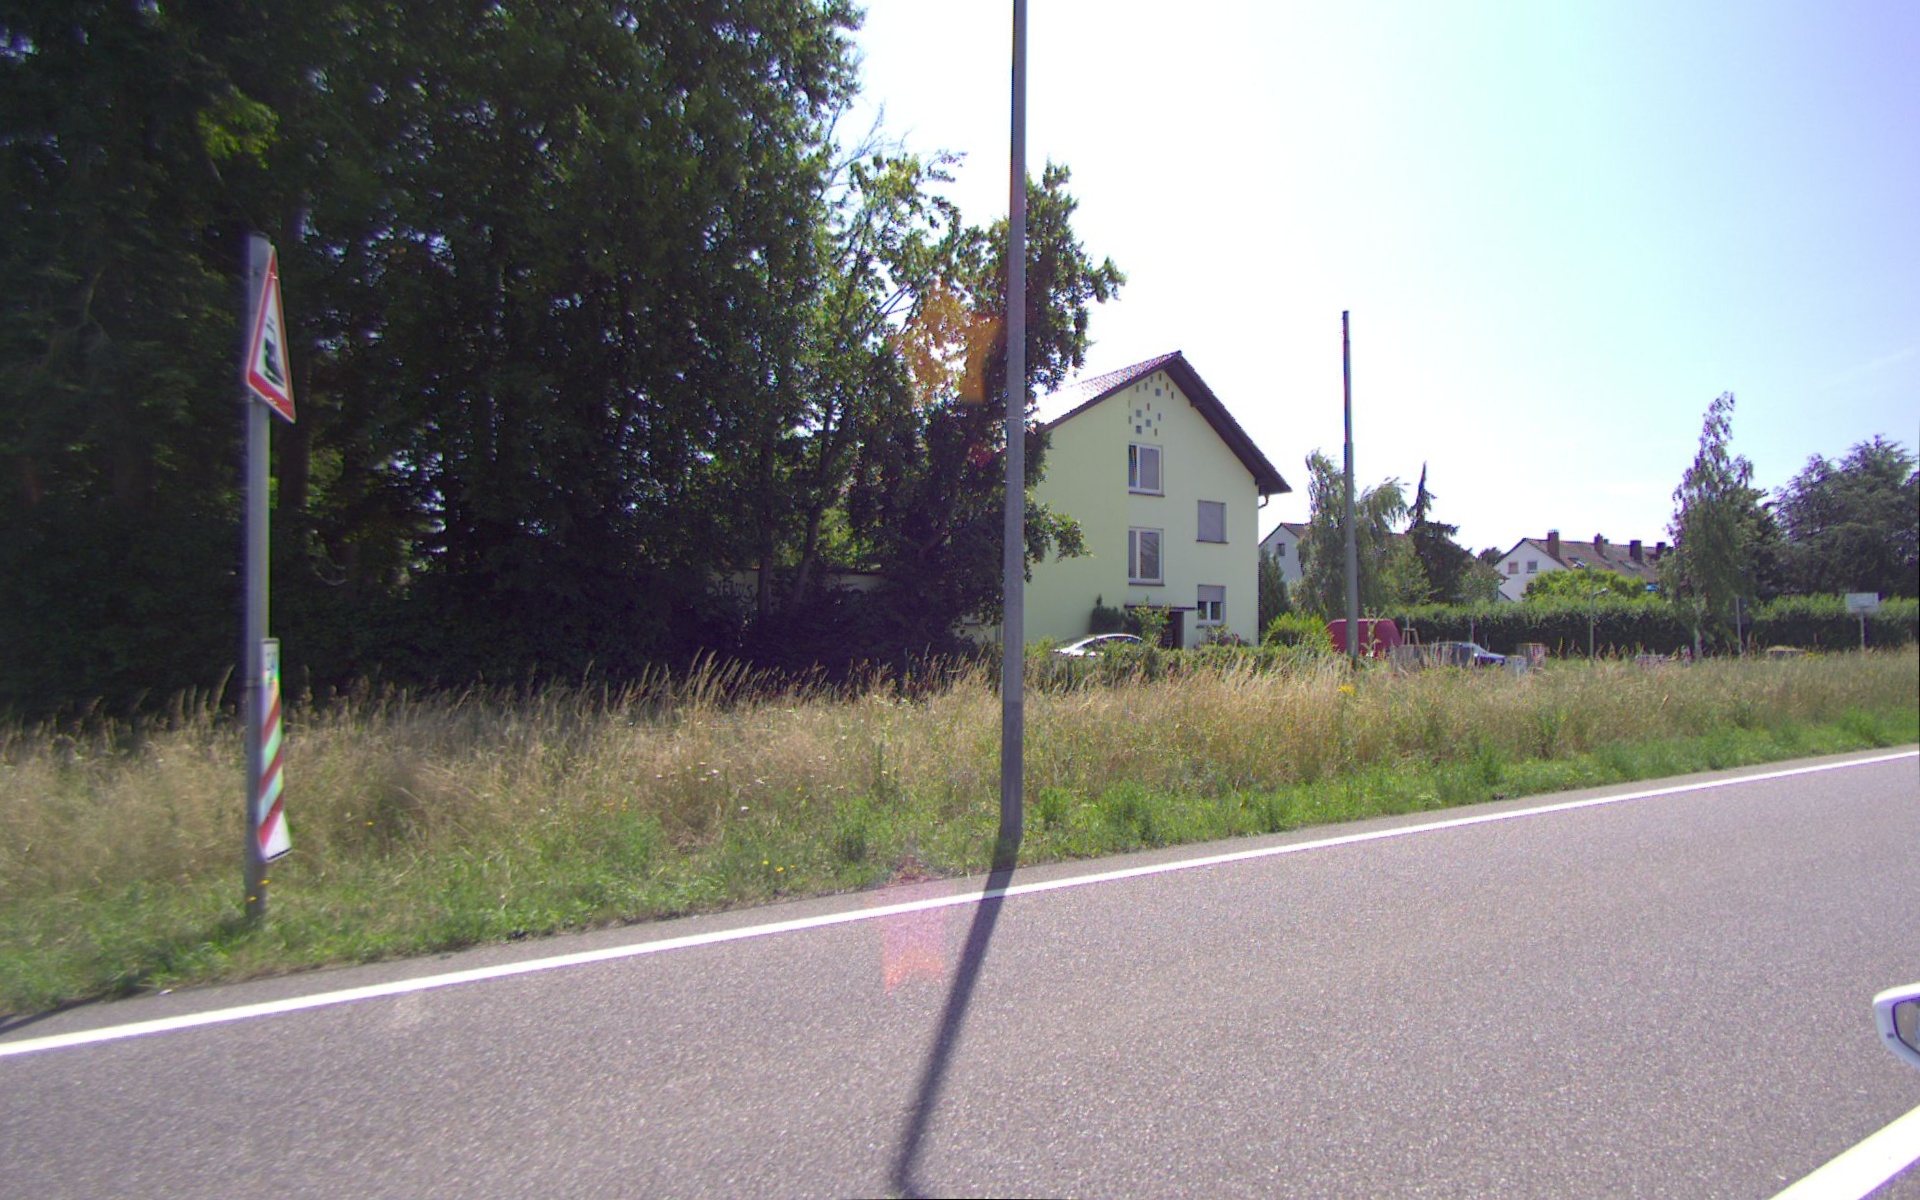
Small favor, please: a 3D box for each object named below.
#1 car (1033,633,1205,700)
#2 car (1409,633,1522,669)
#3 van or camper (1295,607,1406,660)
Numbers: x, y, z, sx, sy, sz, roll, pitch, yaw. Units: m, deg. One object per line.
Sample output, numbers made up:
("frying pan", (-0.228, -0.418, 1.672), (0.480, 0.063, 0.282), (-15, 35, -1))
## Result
("car", (4.026, 1.618, 25.222), (4.138, 1.511, 1.698), (1, -1, -31))
("car", (21.872, 2.175, 43.577), (1.979, 1.372, 3.963), (1, -1, -33))
("van or camper", (18.669, 1.568, 48.214), (1.979, 2.420, 4.725), (1, -1, -33))
